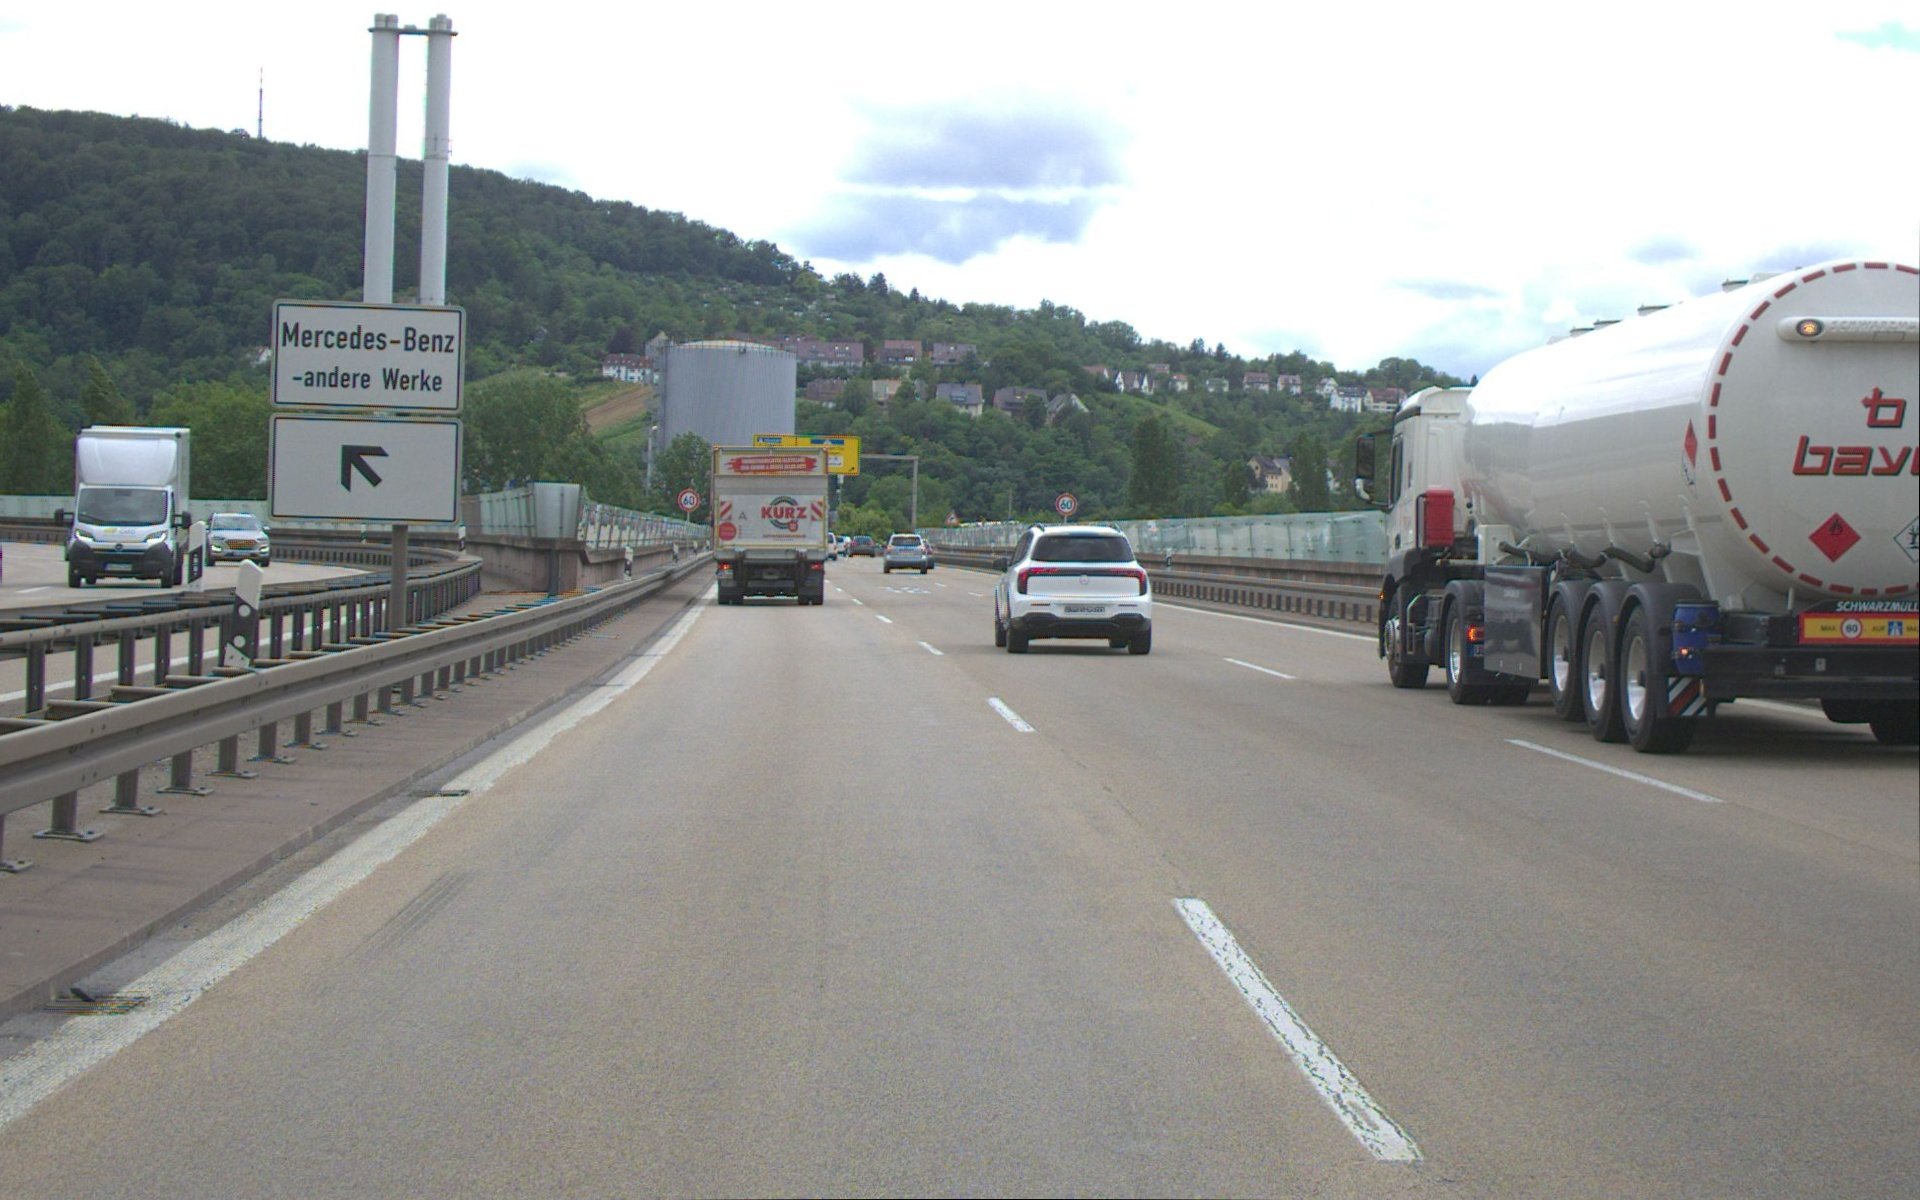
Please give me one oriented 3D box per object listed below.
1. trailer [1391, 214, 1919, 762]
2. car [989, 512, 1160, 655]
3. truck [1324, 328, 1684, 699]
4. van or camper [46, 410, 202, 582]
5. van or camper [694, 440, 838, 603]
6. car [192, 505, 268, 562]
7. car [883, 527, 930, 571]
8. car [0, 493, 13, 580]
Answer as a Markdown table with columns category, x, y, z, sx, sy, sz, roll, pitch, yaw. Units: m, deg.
| category | x | y | z | sx | sy | sz | roll | pitch | yaw |
| --- | --- | --- | --- | --- | --- | --- | --- | --- | --- |
| trailer | 5.826 | -0.775 | 27.920 | 2.650 | 3.531 | 11.221 | 1 | 1 | -3 |
| car | 1.468 | -0.246 | 45.684 | 1.923 | 1.779 | 4.114 | 1 | 1 | -3 |
| truck | 5.449 | -0.854 | 35.226 | 2.630 | 3.502 | 4.904 | 1 | 1 | -3 |
| van or camper | -17.350 | -2.094 | 71.697 | 2.404 | 3.376 | 6.956 | 1 | 1 | -8 |
| van or camper | -4.488 | -1.773 | 80.056 | 3.121 | 3.567 | 8.551 | 1 | 1 | -3 |
| car | -22.309 | -2.033 | 105.203 | 1.844 | 1.667 | 4.409 | 1 | 1 | -6 |
| car | -2.224 | -2.140 | 144.613 | 1.924 | 1.779 | 4.113 | 1 | 1 | 0 |
| car | -19.961 | -1.261 | 68.081 | 1.754 | 1.742 | 4.370 | 1 | 1 | -8 |
